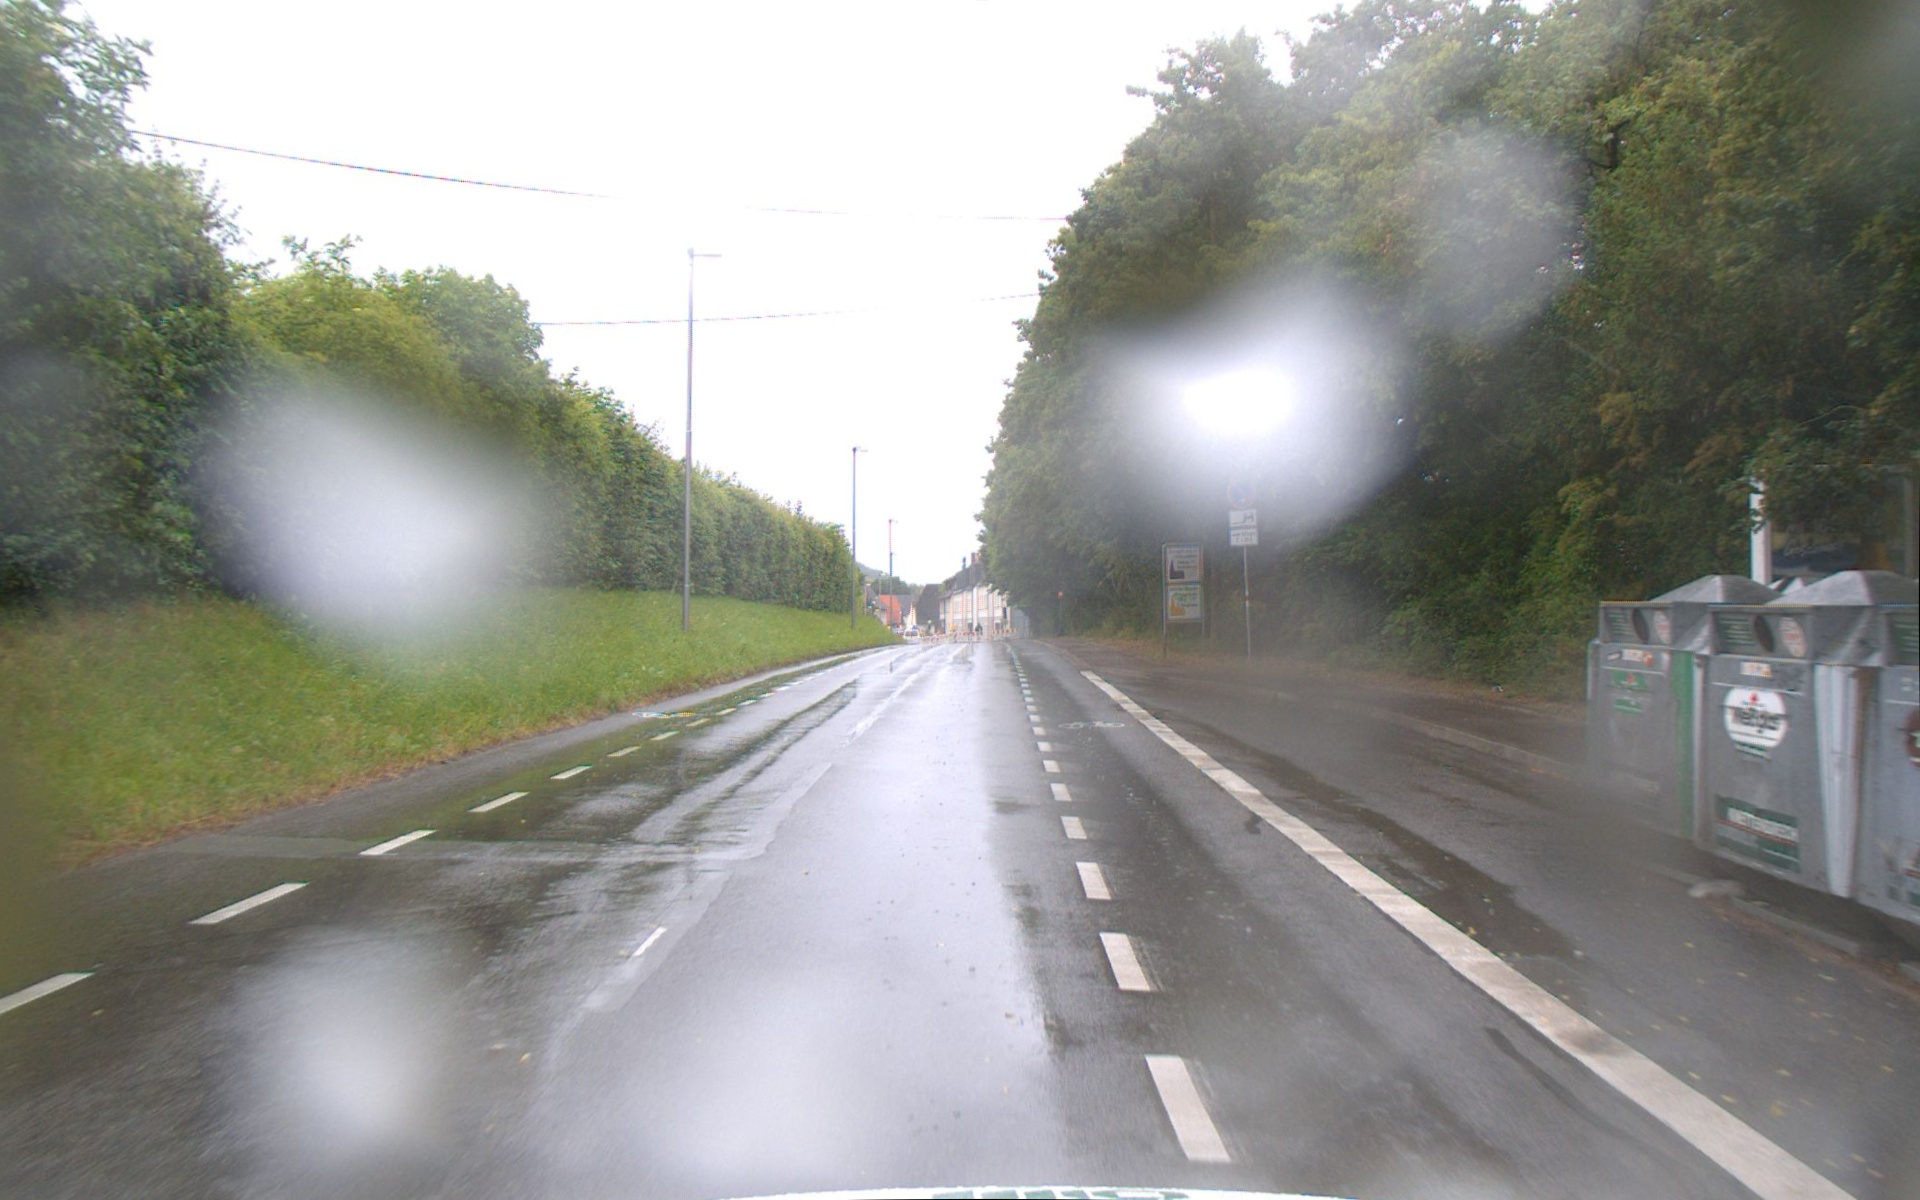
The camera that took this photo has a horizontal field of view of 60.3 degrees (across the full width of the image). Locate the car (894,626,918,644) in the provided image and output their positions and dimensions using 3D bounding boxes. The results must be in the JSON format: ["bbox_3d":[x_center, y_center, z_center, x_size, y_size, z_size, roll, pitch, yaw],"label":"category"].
[{"bbox_3d":[-5.534,3.598,168.493,1.956,1.639,3.993,2,0,-8],"label":"car"}]
